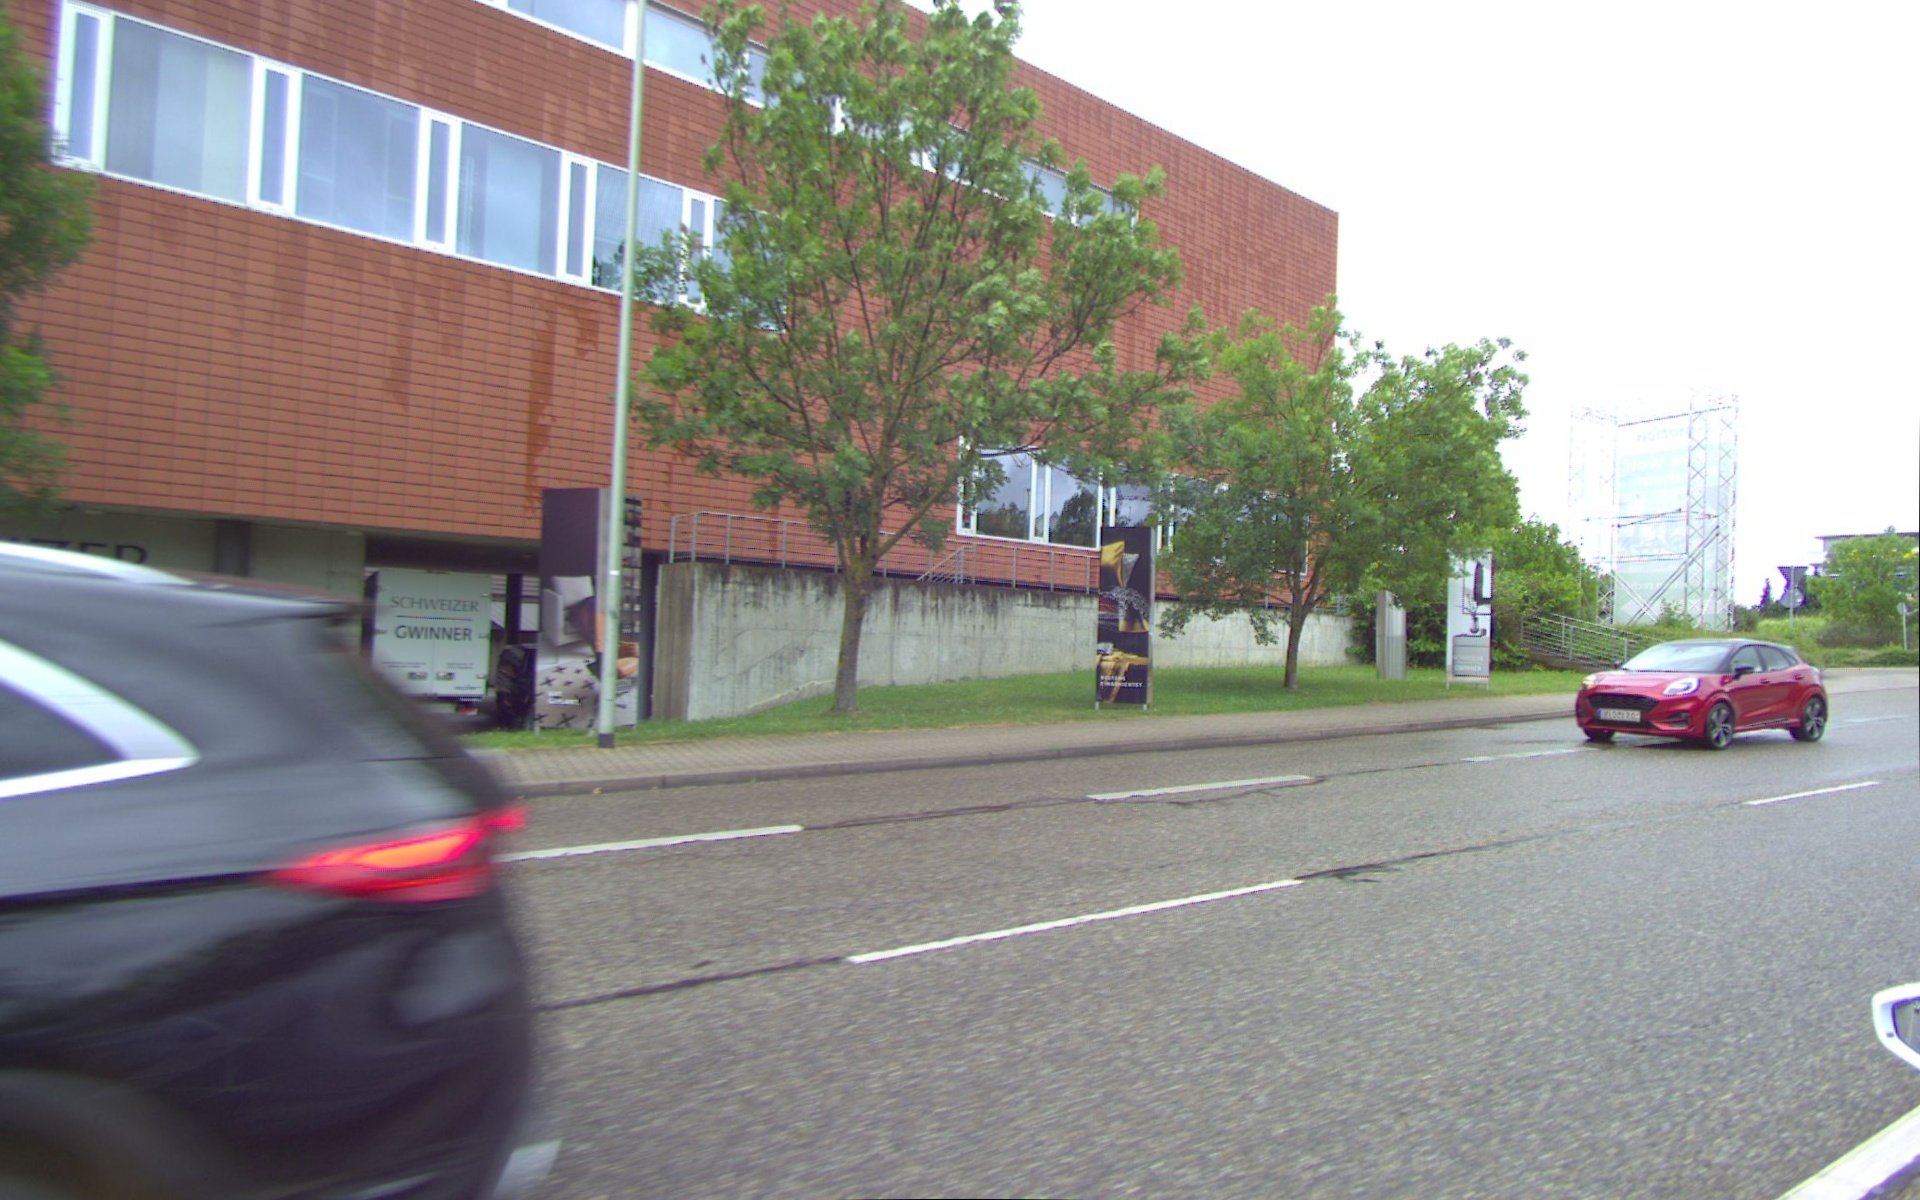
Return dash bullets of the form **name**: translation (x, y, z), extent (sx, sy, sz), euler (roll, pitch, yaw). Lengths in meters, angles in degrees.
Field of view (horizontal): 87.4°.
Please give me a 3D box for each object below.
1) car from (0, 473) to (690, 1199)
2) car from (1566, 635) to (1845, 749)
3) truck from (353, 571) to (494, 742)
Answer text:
- **car**: translation (-2.787, 0.639, 1.534), extent (4.270, 1.598, 1.850), euler (1, -3, -31)
- **car**: translation (11.275, 1.297, 15.167), extent (4.161, 1.526, 1.671), euler (1, -2, -26)
- **truck**: translation (-12.288, 1.214, 22.759), extent (2.004, 3.351, 6.094), euler (2, -3, -35)
